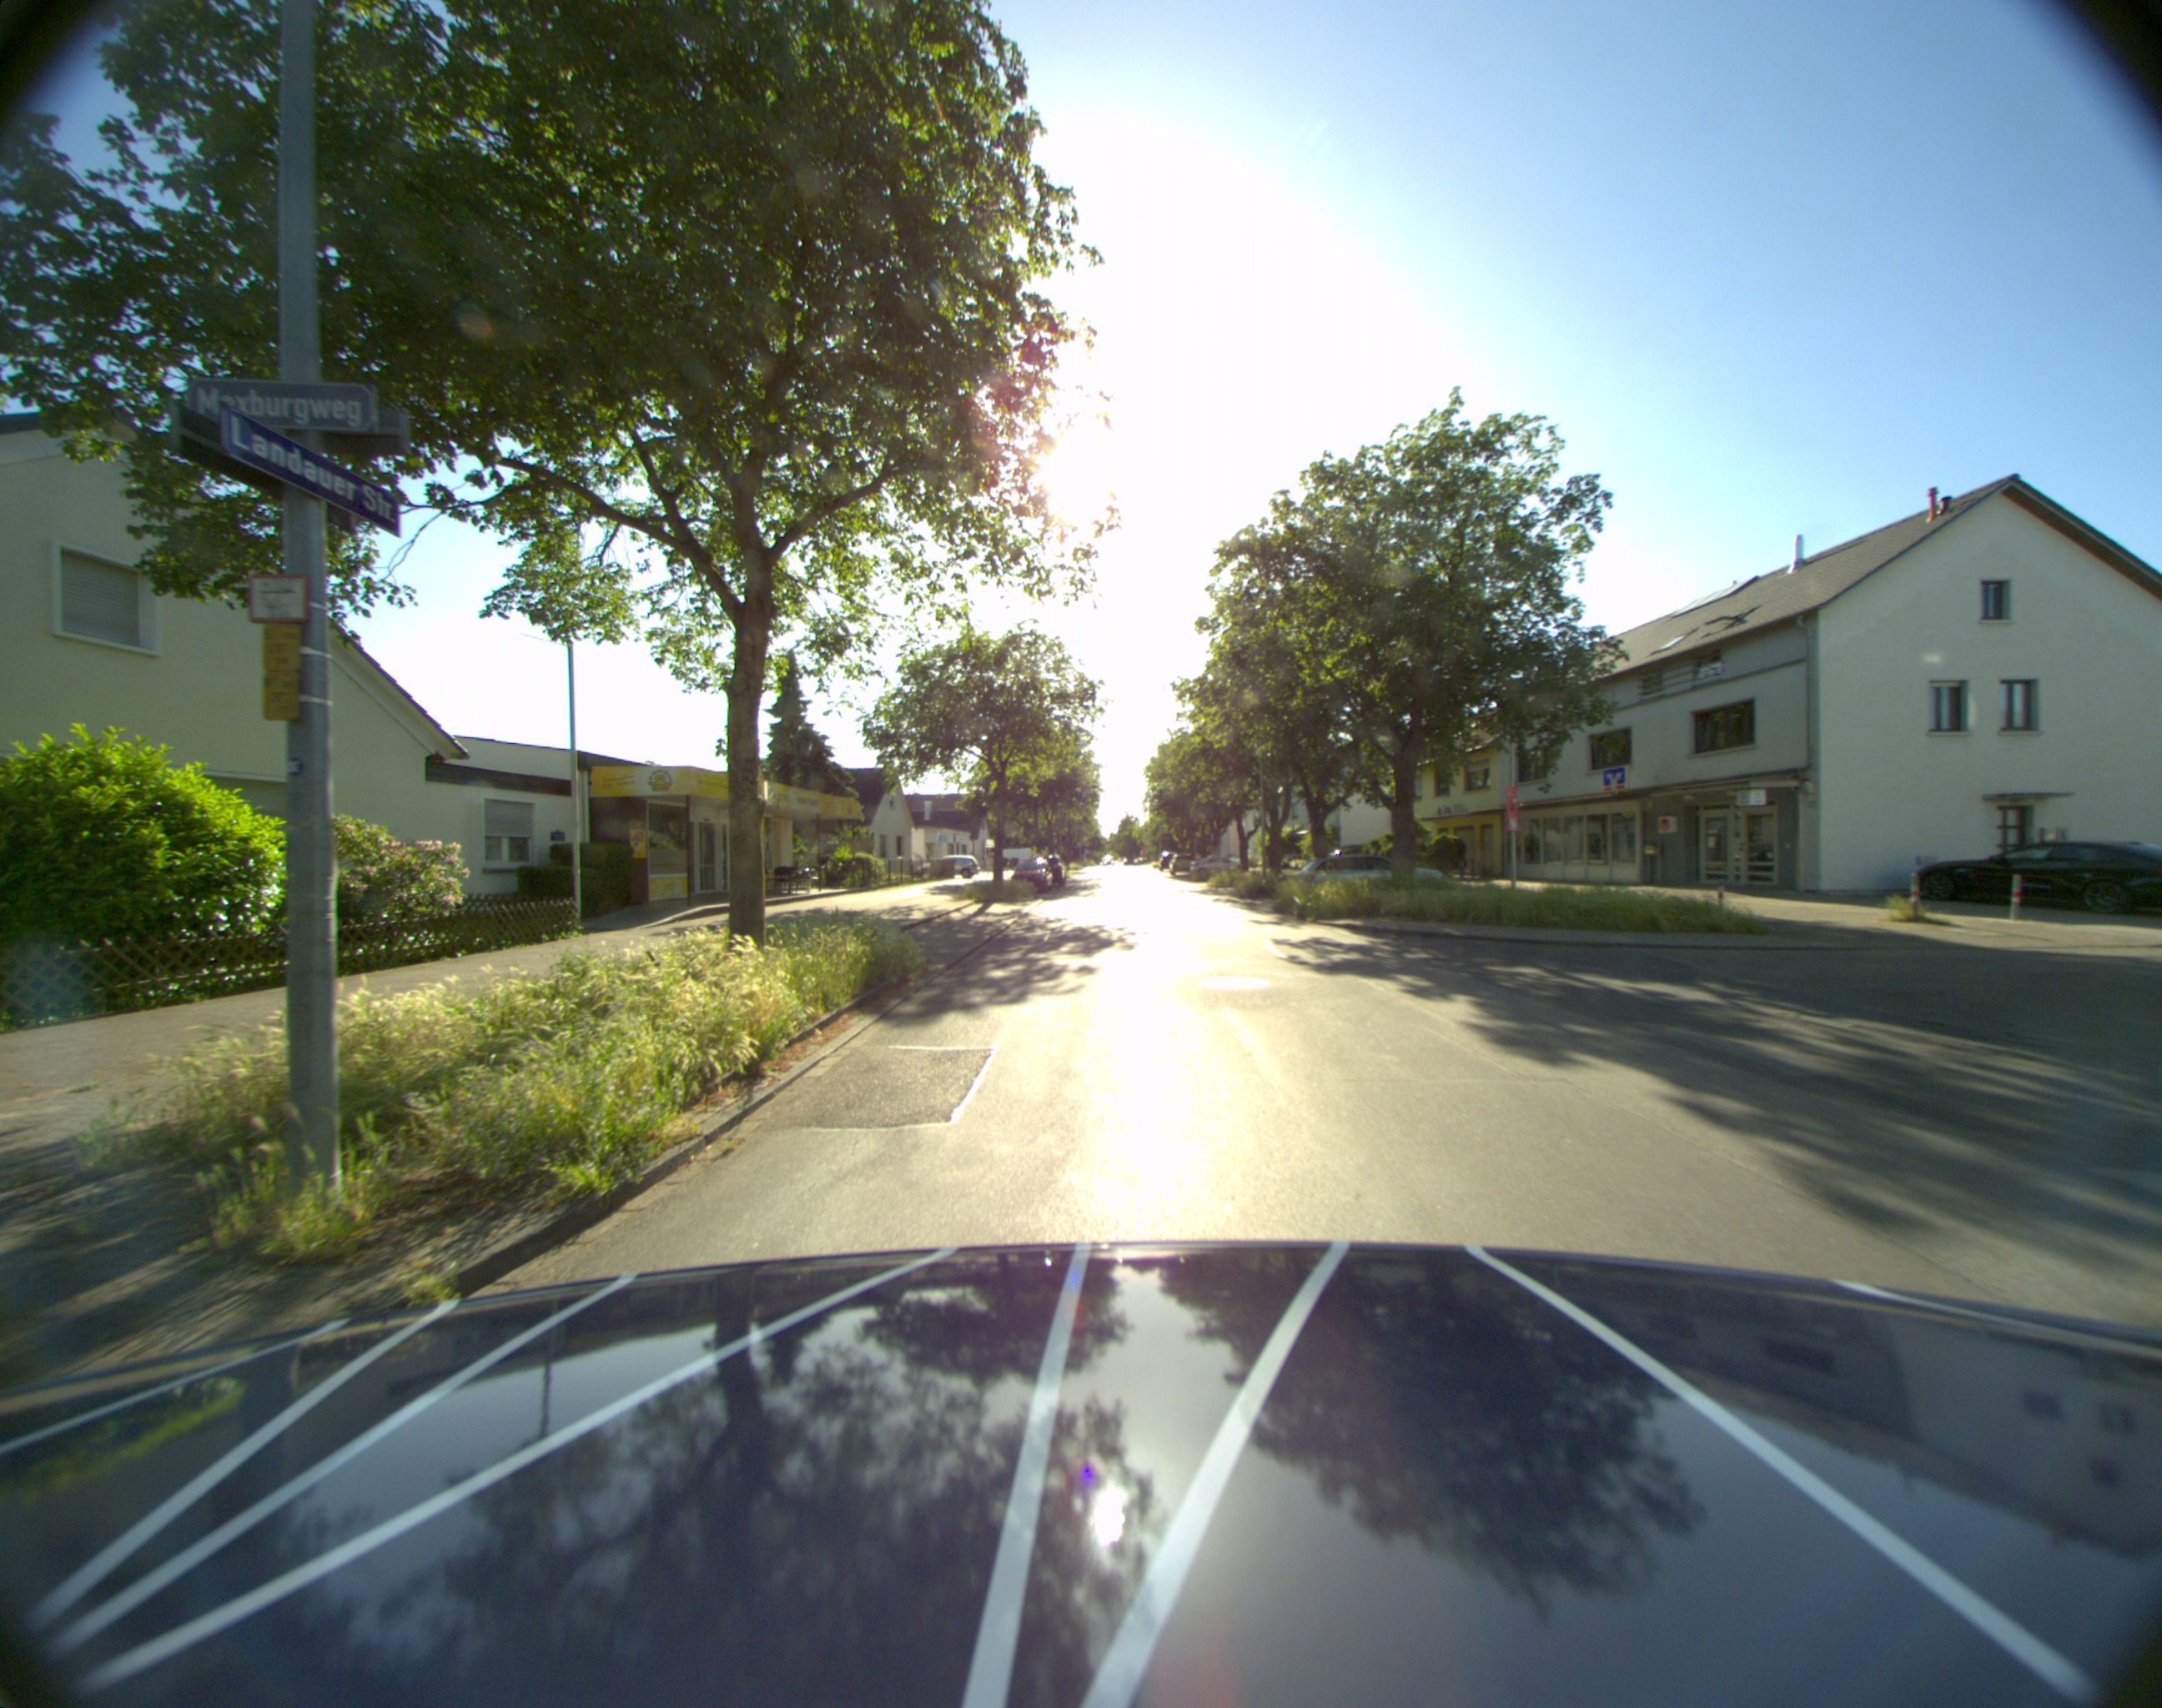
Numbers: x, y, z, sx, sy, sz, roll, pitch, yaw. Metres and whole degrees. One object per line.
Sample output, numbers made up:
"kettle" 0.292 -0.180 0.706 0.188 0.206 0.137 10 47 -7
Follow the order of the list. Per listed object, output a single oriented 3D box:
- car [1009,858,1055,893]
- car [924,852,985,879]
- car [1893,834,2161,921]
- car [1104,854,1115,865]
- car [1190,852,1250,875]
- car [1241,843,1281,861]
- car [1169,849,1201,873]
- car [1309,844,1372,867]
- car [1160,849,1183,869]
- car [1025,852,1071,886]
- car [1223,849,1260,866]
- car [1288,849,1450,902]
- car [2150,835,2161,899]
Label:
"car" -2.182 0.941 34.647 1.689 1.414 3.777 0 1 3
"car" -8.283 0.725 49.815 3.621 1.431 1.695 -4 1 -1
"car" 21.294 0.390 16.468 1.999 1.555 4.906 -1 2 -3
"car" 4.634 0.933 121.950 1.539 1.582 3.459 -4 1 4
"car" 9.425 0.609 51.625 3.694 1.315 1.624 -3 1 -4
"car" 20.101 -0.249 84.979 3.997 1.674 2.000 -4 1 1
"car" 7.701 0.513 56.522 1.998 1.530 3.695 -4 1 4
"car" 17.465 0.081 51.269 3.773 1.557 1.691 0 1 5
"car" 8.018 0.393 67.833 1.815 1.722 4.056 -1 0 4
"car" -1.698 0.768 40.888 1.941 1.684 4.363 -2 0 4
"car" 19.567 0.439 92.948 3.997 1.674 2.000 -4 1 1
"car" 9.102 0.667 24.320 4.392 1.408 2.000 -3 1 1
"car" 26.942 0.387 16.097 1.877 1.519 4.666 -1 2 -3
